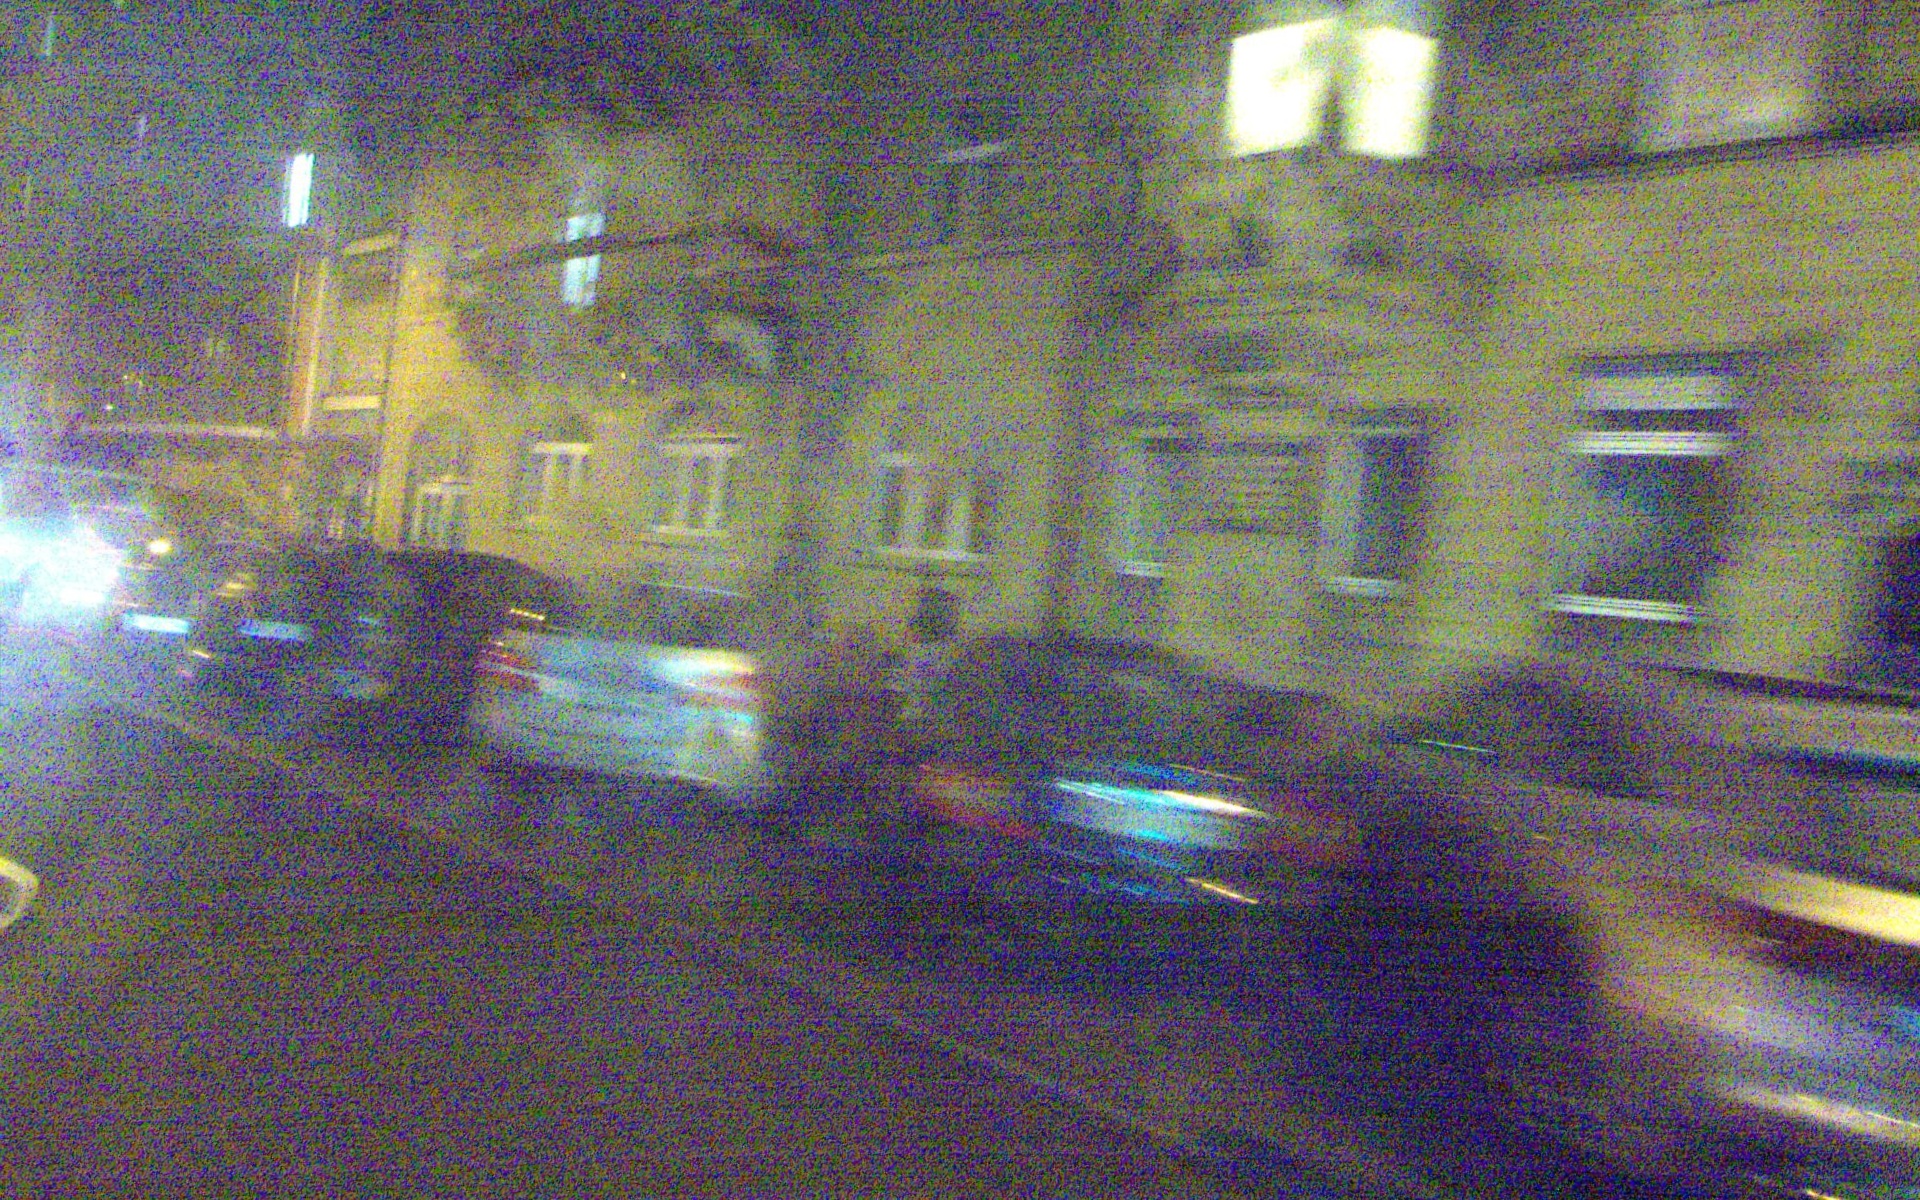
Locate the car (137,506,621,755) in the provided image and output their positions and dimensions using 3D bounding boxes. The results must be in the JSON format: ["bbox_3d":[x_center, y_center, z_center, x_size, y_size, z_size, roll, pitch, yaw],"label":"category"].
[{"bbox_3d":[-4.854,0.270,9.221,1.717,1.580,4.055,7,-1,5],"label":"car"}]

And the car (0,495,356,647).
[{"bbox_3d":[-9.619,-0.293,12.706,1.599,1.486,3.455,7,0,4],"label":"car"}]

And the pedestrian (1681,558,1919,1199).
[{"bbox_3d":[2.098,0.906,1.798,1.158,1.791,0.823,7,0,33],"label":"pedestrian"}]

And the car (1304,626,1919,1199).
[{"bbox_3d":[2.852,1.072,4.129,1.801,1.710,3.804,7,0,7],"label":"car"}]

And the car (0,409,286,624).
[{"bbox_3d":[-11.741,-1.001,13.254,2.190,2.369,4.942,7,-1,0],"label":"car"}]

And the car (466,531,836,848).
[{"bbox_3d":[-1.921,0.526,7.324,1.565,1.580,3.511,7,-1,-2],"label":"car"}]

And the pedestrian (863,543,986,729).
[{"bbox_3d":[-0.384,0.387,10.946,0.829,1.865,0.746,9,3,32],"label":"pedestrian"}]

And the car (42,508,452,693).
[{"bbox_3d":[-7.437,0.003,11.011,1.583,1.487,3.730,7,0,3],"label":"car"}]

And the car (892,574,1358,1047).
[{"bbox_3d":[0.513,0.807,5.391,1.566,1.580,3.395,7,-1,-4],"label":"car"}]
